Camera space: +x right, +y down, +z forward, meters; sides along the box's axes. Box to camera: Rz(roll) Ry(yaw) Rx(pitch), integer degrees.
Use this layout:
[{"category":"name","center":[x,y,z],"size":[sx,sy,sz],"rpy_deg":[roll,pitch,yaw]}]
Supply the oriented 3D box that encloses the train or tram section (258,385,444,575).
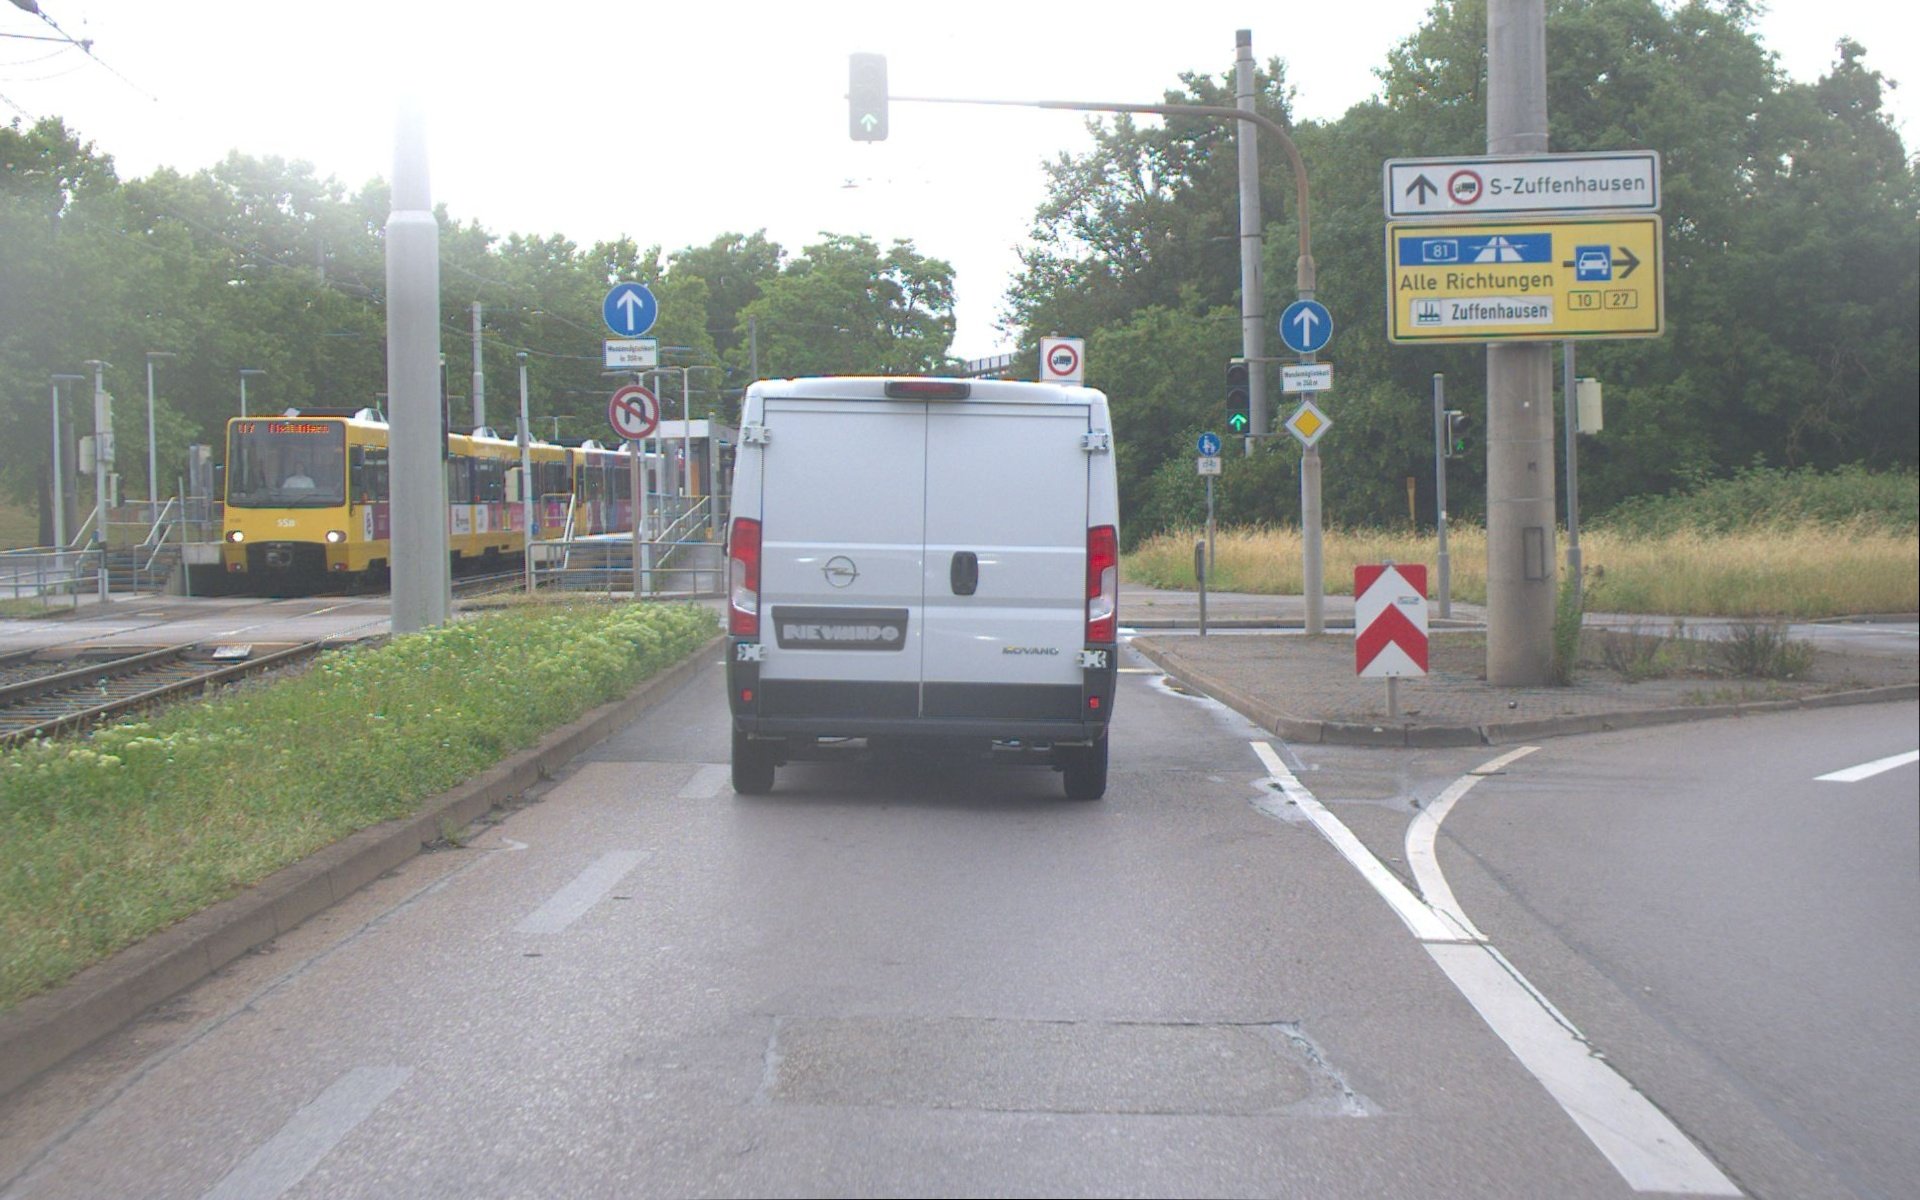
[{"category":"train or tram section","center":[-13.371,-2.622,76.030],"size":[2.928,3.919,7.006],"rpy_deg":[1,1,-1]}]

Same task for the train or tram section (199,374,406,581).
[{"category":"train or tram section","center":[-13.242,-2.454,69.755],"size":[2.928,3.919,7.006],"rpy_deg":[1,1,-1]}]

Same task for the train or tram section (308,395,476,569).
[{"category":"train or tram section","center":[-13.499,-2.789,82.273],"size":[2.928,3.919,7.006],"rpy_deg":[1,1,-1]}]

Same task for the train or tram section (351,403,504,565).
[{"category":"train or tram section","center":[-13.649,-2.958,88.582],"size":[2.928,3.919,7.006],"rpy_deg":[1,1,-1]}]

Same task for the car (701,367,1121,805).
[{"category":"car","center":[-0.381,-0.155,19.935],"size":[2.090,2.189,5.062],"rpy_deg":[1,2,-3]}]
